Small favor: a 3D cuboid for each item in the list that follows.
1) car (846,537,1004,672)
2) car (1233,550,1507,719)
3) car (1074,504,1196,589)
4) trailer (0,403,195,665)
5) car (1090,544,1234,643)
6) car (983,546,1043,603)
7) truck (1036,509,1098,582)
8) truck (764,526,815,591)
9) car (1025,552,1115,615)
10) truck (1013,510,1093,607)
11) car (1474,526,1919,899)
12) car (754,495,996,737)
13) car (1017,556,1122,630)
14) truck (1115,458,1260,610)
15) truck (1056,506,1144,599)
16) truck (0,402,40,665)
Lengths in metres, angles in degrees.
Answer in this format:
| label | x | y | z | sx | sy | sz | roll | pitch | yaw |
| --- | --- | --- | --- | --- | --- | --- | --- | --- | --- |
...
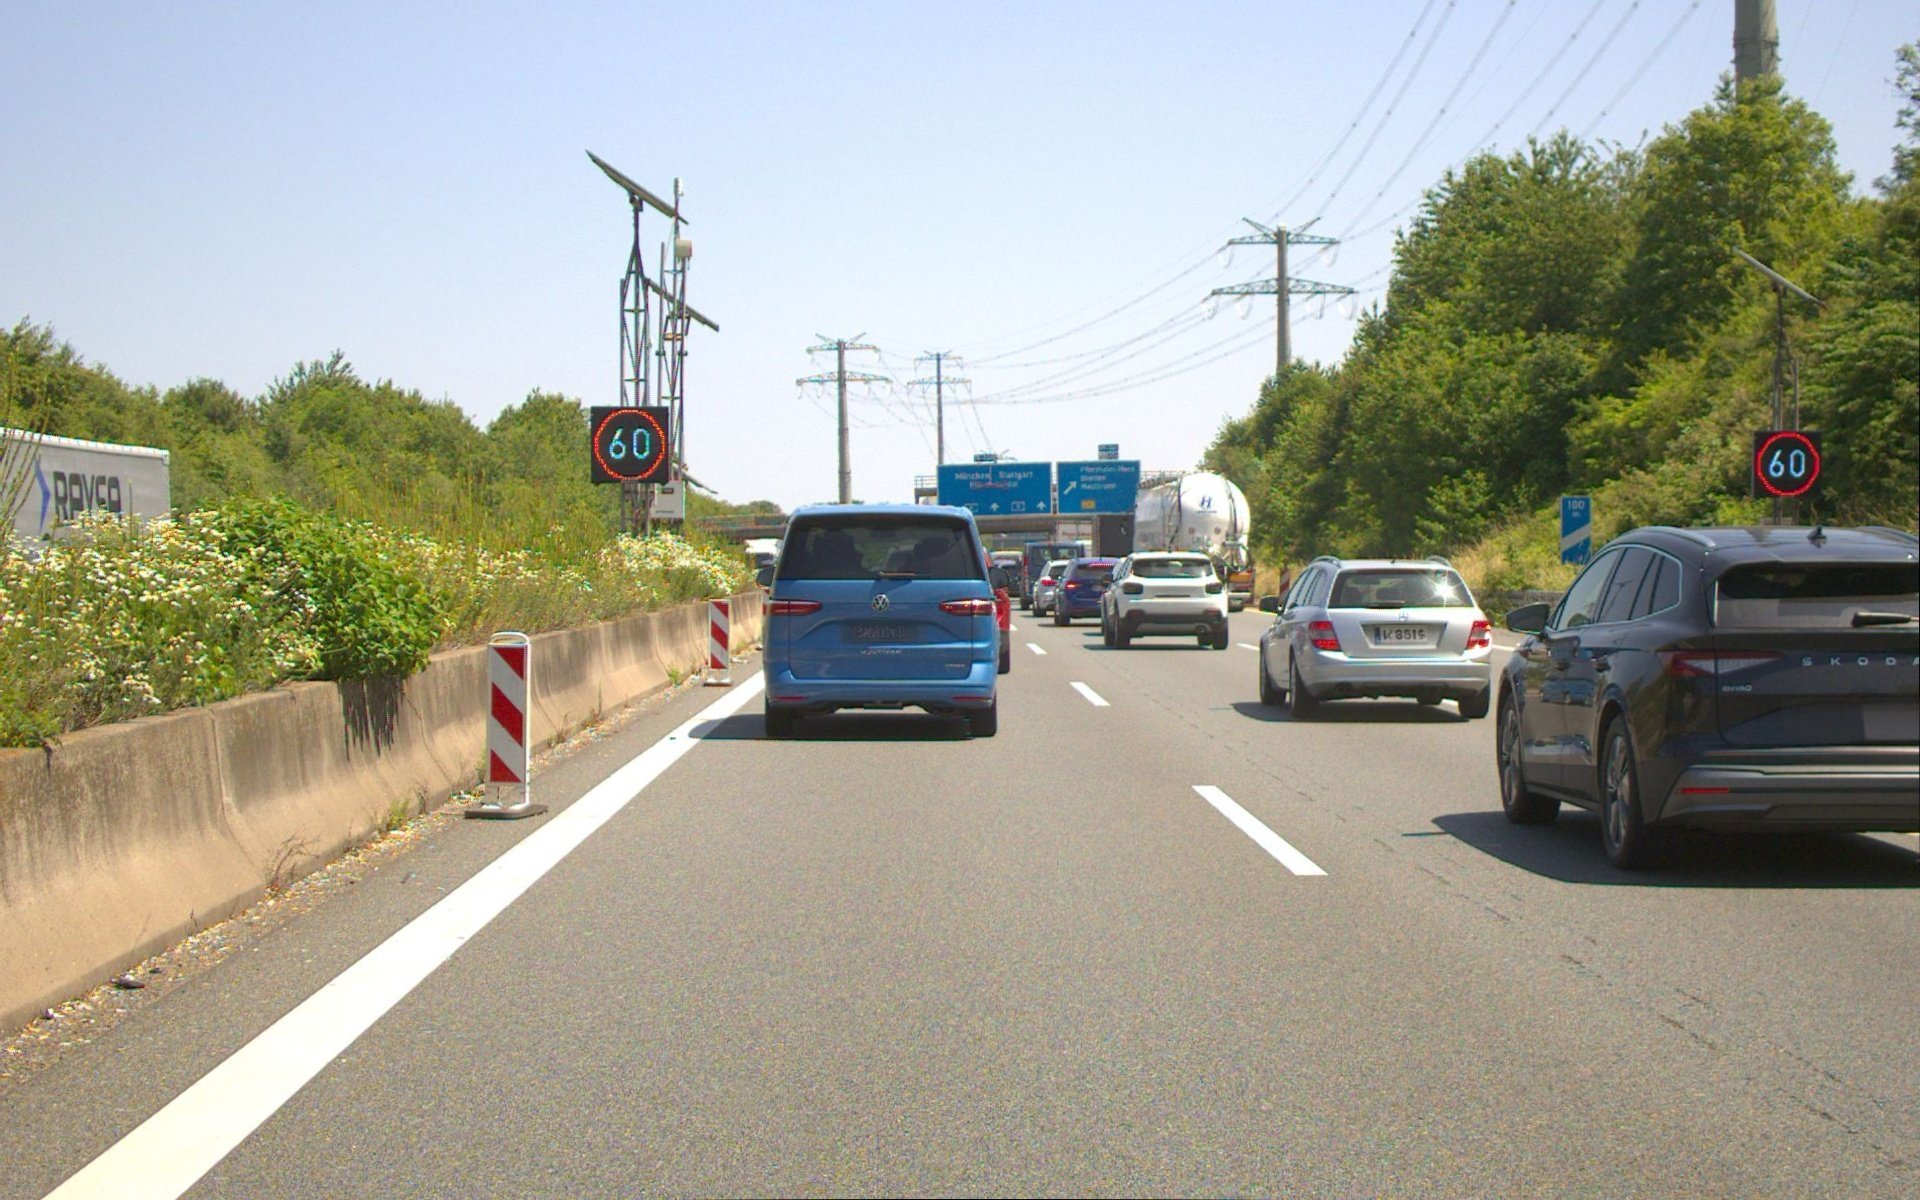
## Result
| label | x | y | z | sx | sy | sz | roll | pitch | yaw |
| --- | --- | --- | --- | --- | --- | --- | --- | --- | --- |
| car | -0.494 | 0.023 | 43.832 | 1.908 | 1.625 | 4.384 | 0 | 1 | -2 |
| car | 3.728 | 0.269 | 31.953 | 1.821 | 1.432 | 4.384 | 1 | 1 | -2 |
| car | 3.325 | -1.024 | 66.009 | 1.908 | 1.564 | 4.384 | 1 | 1 | -2 |
| trailer | -16.729 | -1.070 | 61.190 | 3.016 | 4.152 | 14.021 | -3 | 1 | -1 |
| car | 3.205 | -0.126 | 55.241 | 1.908 | 1.503 | 3.922 | 1 | 1 | -2 |
| car | 1.909 | -0.936 | 125.197 | 1.993 | 2.007 | 4.000 | 1 | 1 | -2 |
| truck | 6.469 | -3.310 | 209.914 | 2.938 | 4.276 | 12.553 | 1 | 1 | -2 |
| truck | -10.839 | -2.667 | 218.970 | 2.762 | 3.875 | 9.030 | -3 | 1 | -1 |
| car | 2.746 | -0.435 | 86.610 | 1.908 | 1.511 | 4.384 | 1 | 1 | -2 |
| truck | 2.680 | -1.213 | 100.241 | 1.993 | 2.714 | 5.680 | 1 | 1 | -2 |
| car | 3.863 | 0.448 | 17.106 | 1.828 | 1.609 | 4.431 | 0 | 1 | -1 |
| car | -0.773 | 0.095 | 29.139 | 1.871 | 1.873 | 4.384 | 1 | 1 | -3 |
| car | 2.323 | -0.170 | 73.816 | 1.908 | 1.511 | 4.384 | 1 | 1 | -2 |
| truck | 6.487 | -1.888 | 100.720 | 2.644 | 4.058 | 16.442 | 1 | 1 | -2 |
| truck | 5.581 | -1.907 | 138.787 | 2.644 | 3.526 | 12.553 | 1 | 1 | -2 |
| truck | -16.653 | -0.963 | 53.302 | 3.016 | 4.152 | 5.806 | -3 | 1 | -1 |
